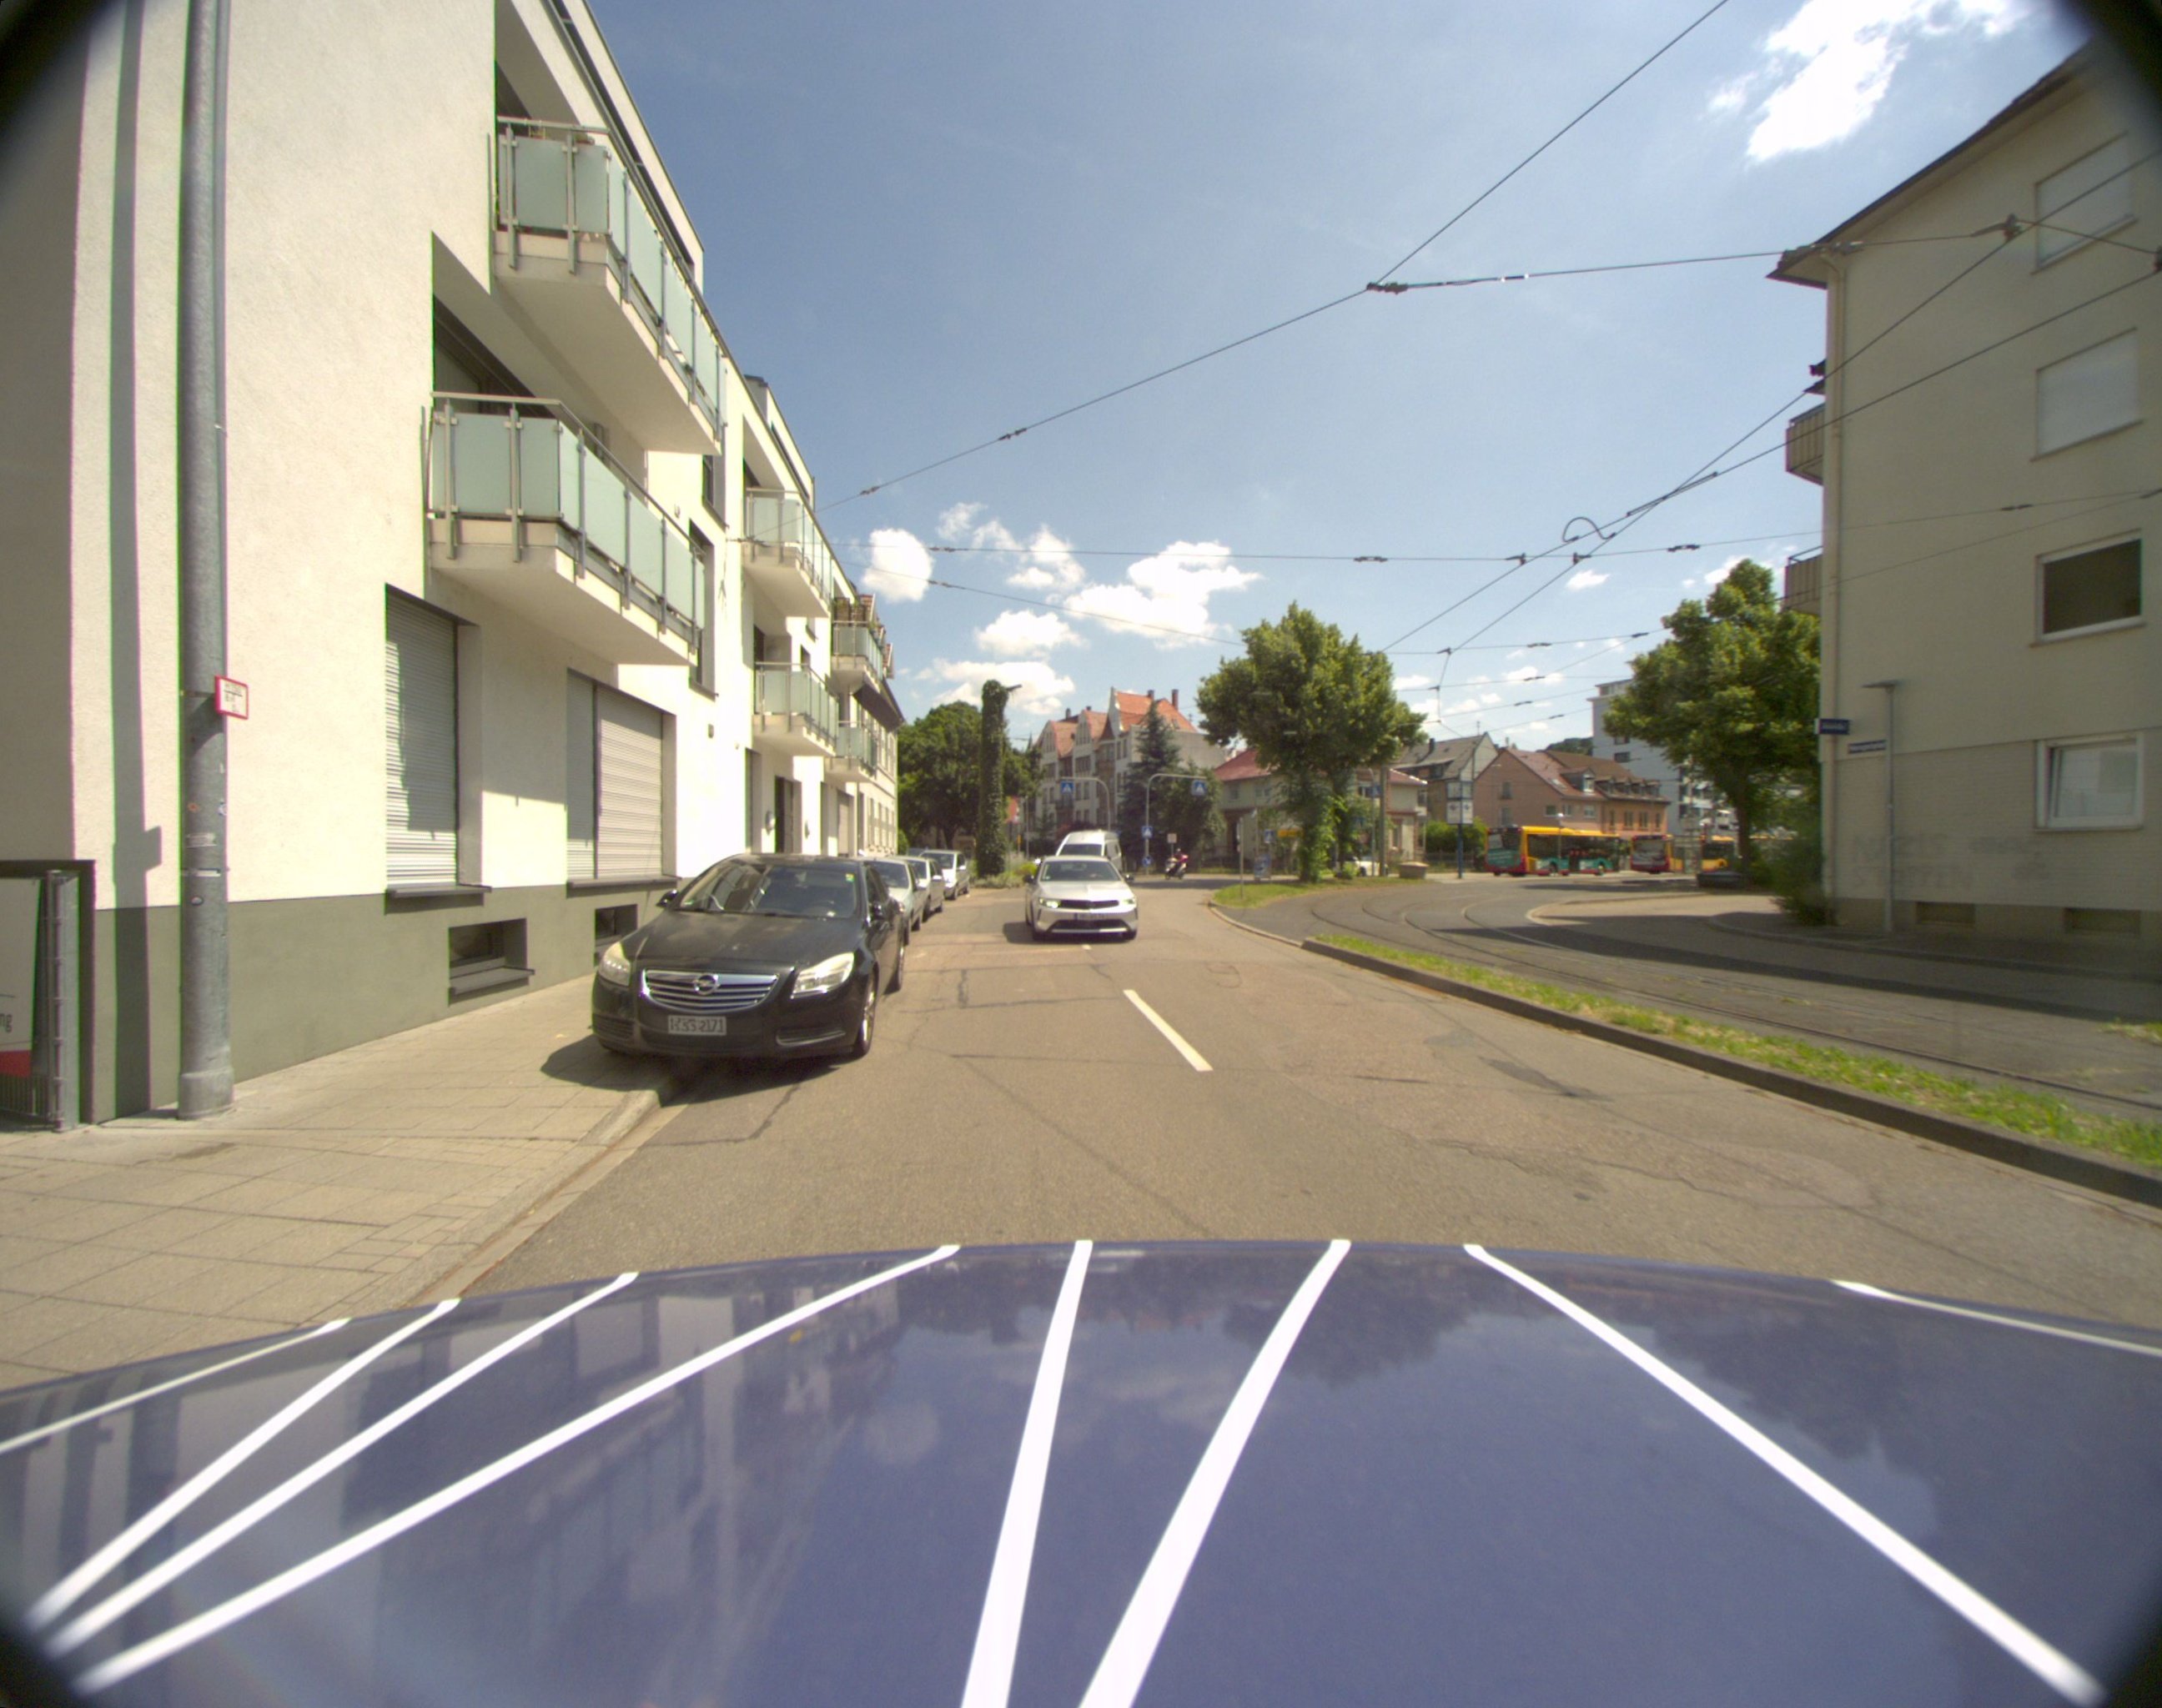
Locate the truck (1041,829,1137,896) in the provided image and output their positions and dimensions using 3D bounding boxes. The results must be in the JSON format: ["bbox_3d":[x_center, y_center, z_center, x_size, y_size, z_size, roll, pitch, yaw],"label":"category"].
[{"bbox_3d":[0.458,0.237,28.562,2.017,2.236,5.413,-2,1,18],"label":"truck"}]

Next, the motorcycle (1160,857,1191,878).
[{"bbox_3d":[4.791,0.685,38.532,1.437,1.051,0.668,-1,1,-21],"label":"motorcycle"}]

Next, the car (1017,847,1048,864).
[{"bbox_3d":[-4.951,0.128,76.872,1.777,1.506,3.992,5,-2,-23],"label":"car"}]

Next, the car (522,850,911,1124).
[{"bbox_3d":[-2.627,0.805,6.741,1.806,1.501,4.543,3,1,-9],"label":"car"}]

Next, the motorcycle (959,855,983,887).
[{"bbox_3d":[-4.962,0.748,34.388,0.802,1.344,2.337,0,1,-3],"label":"motorcycle"}]

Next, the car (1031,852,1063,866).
[{"bbox_3d":[-3.255,0.434,72.277,1.821,1.319,3.992,0,0,-23],"label":"car"}]

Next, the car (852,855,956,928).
[{"bbox_3d":[-4.230,0.832,18.716,1.731,1.425,4.040,3,1,-3],"label":"car"}]

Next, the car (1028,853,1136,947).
[{"bbox_3d":[-0.127,0.752,14.714,1.802,1.458,4.168,0,2,-4],"label":"car"}]

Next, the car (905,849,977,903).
[{"bbox_3d":[-4.756,0.692,26.286,1.731,1.602,3.799,2,2,0],"label":"car"}]

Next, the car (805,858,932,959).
[{"bbox_3d":[-3.682,0.872,13.742,1.598,1.425,3.703,3,1,-7],"label":"car"}]

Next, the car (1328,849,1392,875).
[{"bbox_3d":[16.194,0.438,44.088,3.754,1.456,1.774,-1,1,-38],"label":"car"}]

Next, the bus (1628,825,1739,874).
[{"bbox_3d":[47.508,-0.358,59.701,12.228,3.586,2.690,0,1,-31],"label":"bus"}]

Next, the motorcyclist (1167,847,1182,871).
[{"bbox_3d":[4.723,0.247,38.509,0.556,1.236,0.540,-1,1,-21],"label":"motorcyclist"}]

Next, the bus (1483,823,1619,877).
[{"bbox_3d":[30.676,-0.224,49.382,10.876,3.277,2.702,0,0,-30],"label":"bus"}]
